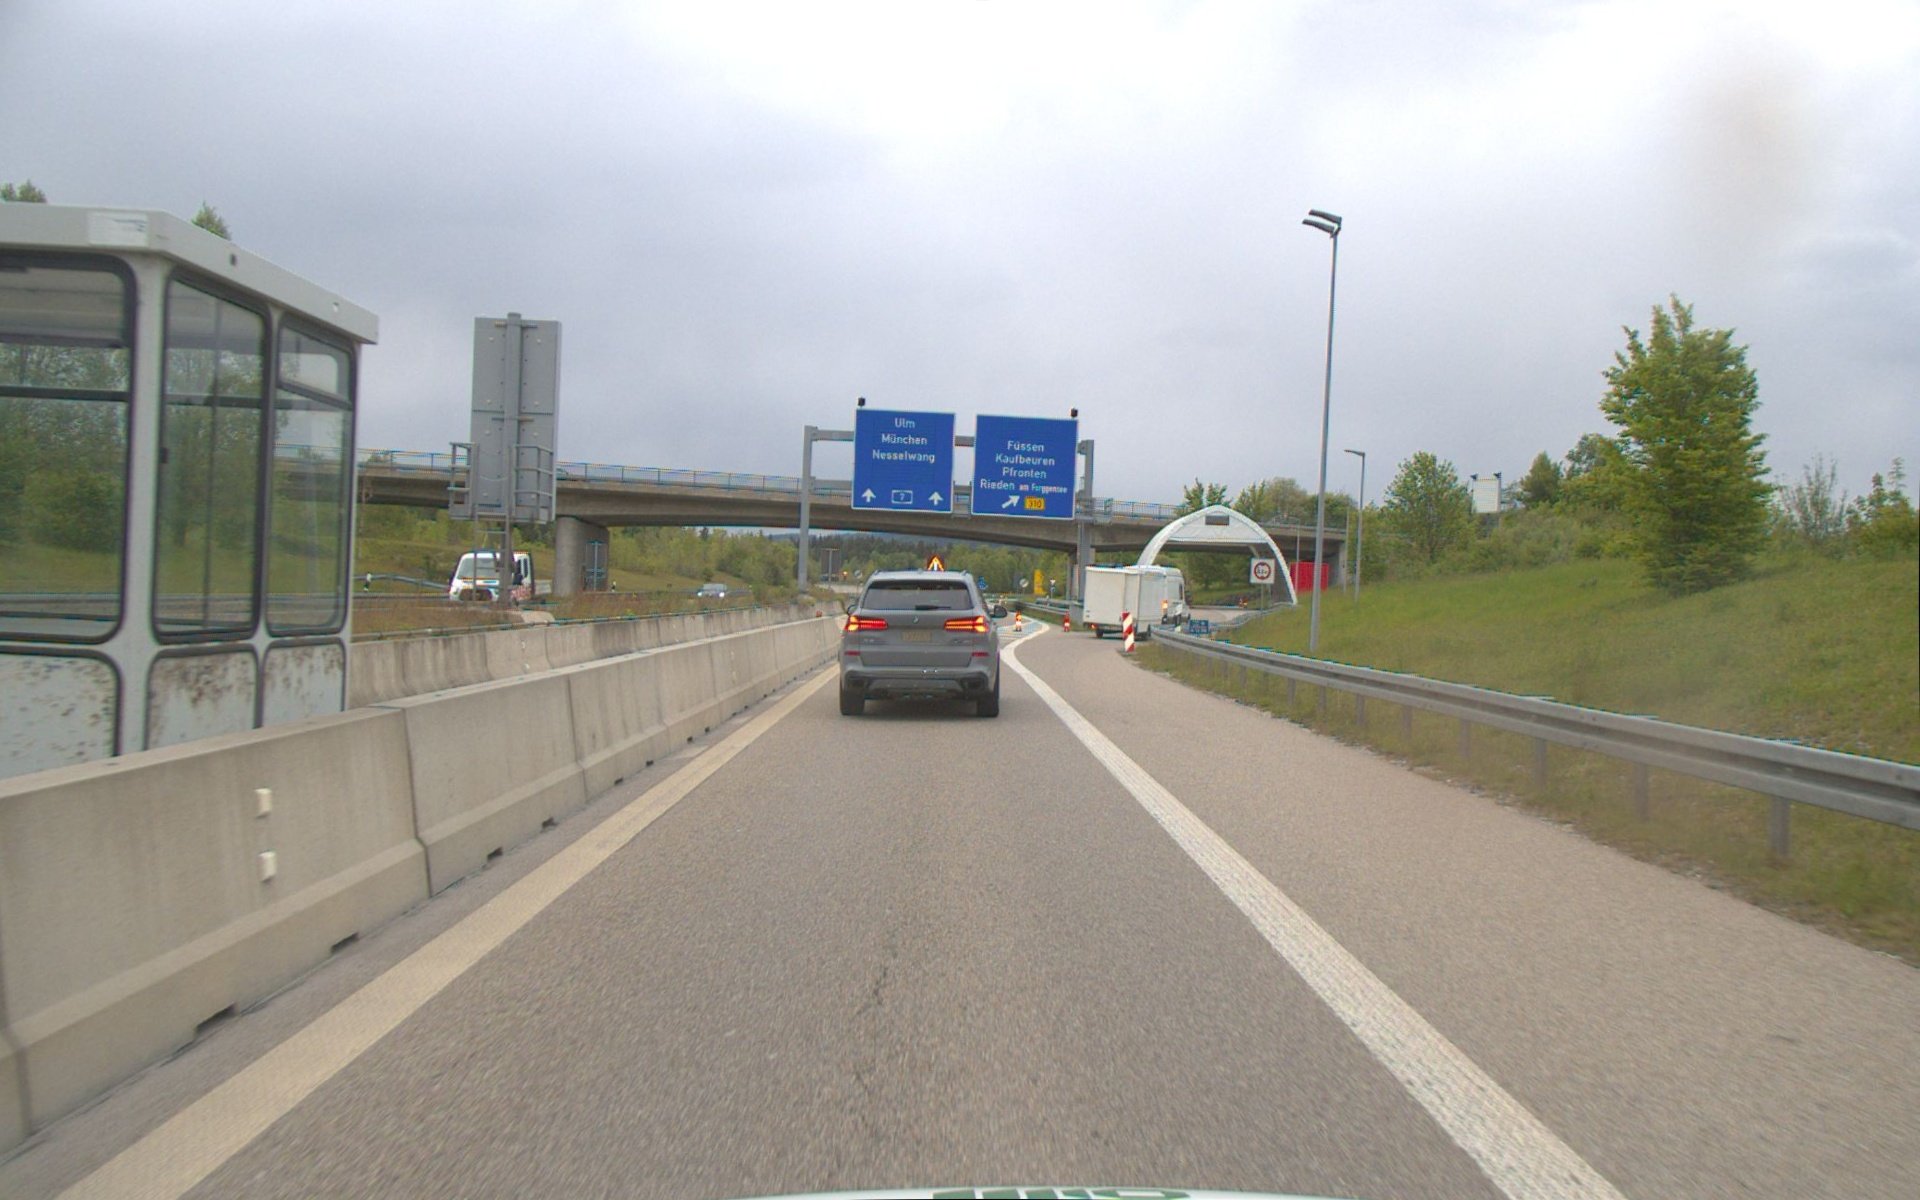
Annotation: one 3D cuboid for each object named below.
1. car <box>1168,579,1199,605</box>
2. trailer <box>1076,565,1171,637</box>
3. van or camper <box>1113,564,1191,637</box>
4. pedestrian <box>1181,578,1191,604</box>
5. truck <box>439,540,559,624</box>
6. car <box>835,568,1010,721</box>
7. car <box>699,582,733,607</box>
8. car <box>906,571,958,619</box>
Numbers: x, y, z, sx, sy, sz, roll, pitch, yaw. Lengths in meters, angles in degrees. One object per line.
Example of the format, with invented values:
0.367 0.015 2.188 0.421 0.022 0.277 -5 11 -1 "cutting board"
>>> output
16.229 -0.584 120.247 1.952 1.803 3.767 0 0 3 "car"
6.080 0.039 60.606 2.231 2.473 6.821 1 0 16 "trailer"
7.819 0.029 66.788 2.111 2.812 5.874 1 0 17 "van or camper"
16.866 -0.665 123.505 0.705 1.979 0.690 0 0 4 "pedestrian"
-15.047 -0.578 54.381 2.309 2.522 5.987 2 0 -1 "truck"
-0.372 0.501 21.105 1.952 1.749 4.001 1 0 2 "car"
-15.212 -0.342 103.059 1.575 1.527 3.837 1 0 -1 "car"
-1.302 -0.277 74.590 2.240 2.049 5.048 1 1 -2 "car"
